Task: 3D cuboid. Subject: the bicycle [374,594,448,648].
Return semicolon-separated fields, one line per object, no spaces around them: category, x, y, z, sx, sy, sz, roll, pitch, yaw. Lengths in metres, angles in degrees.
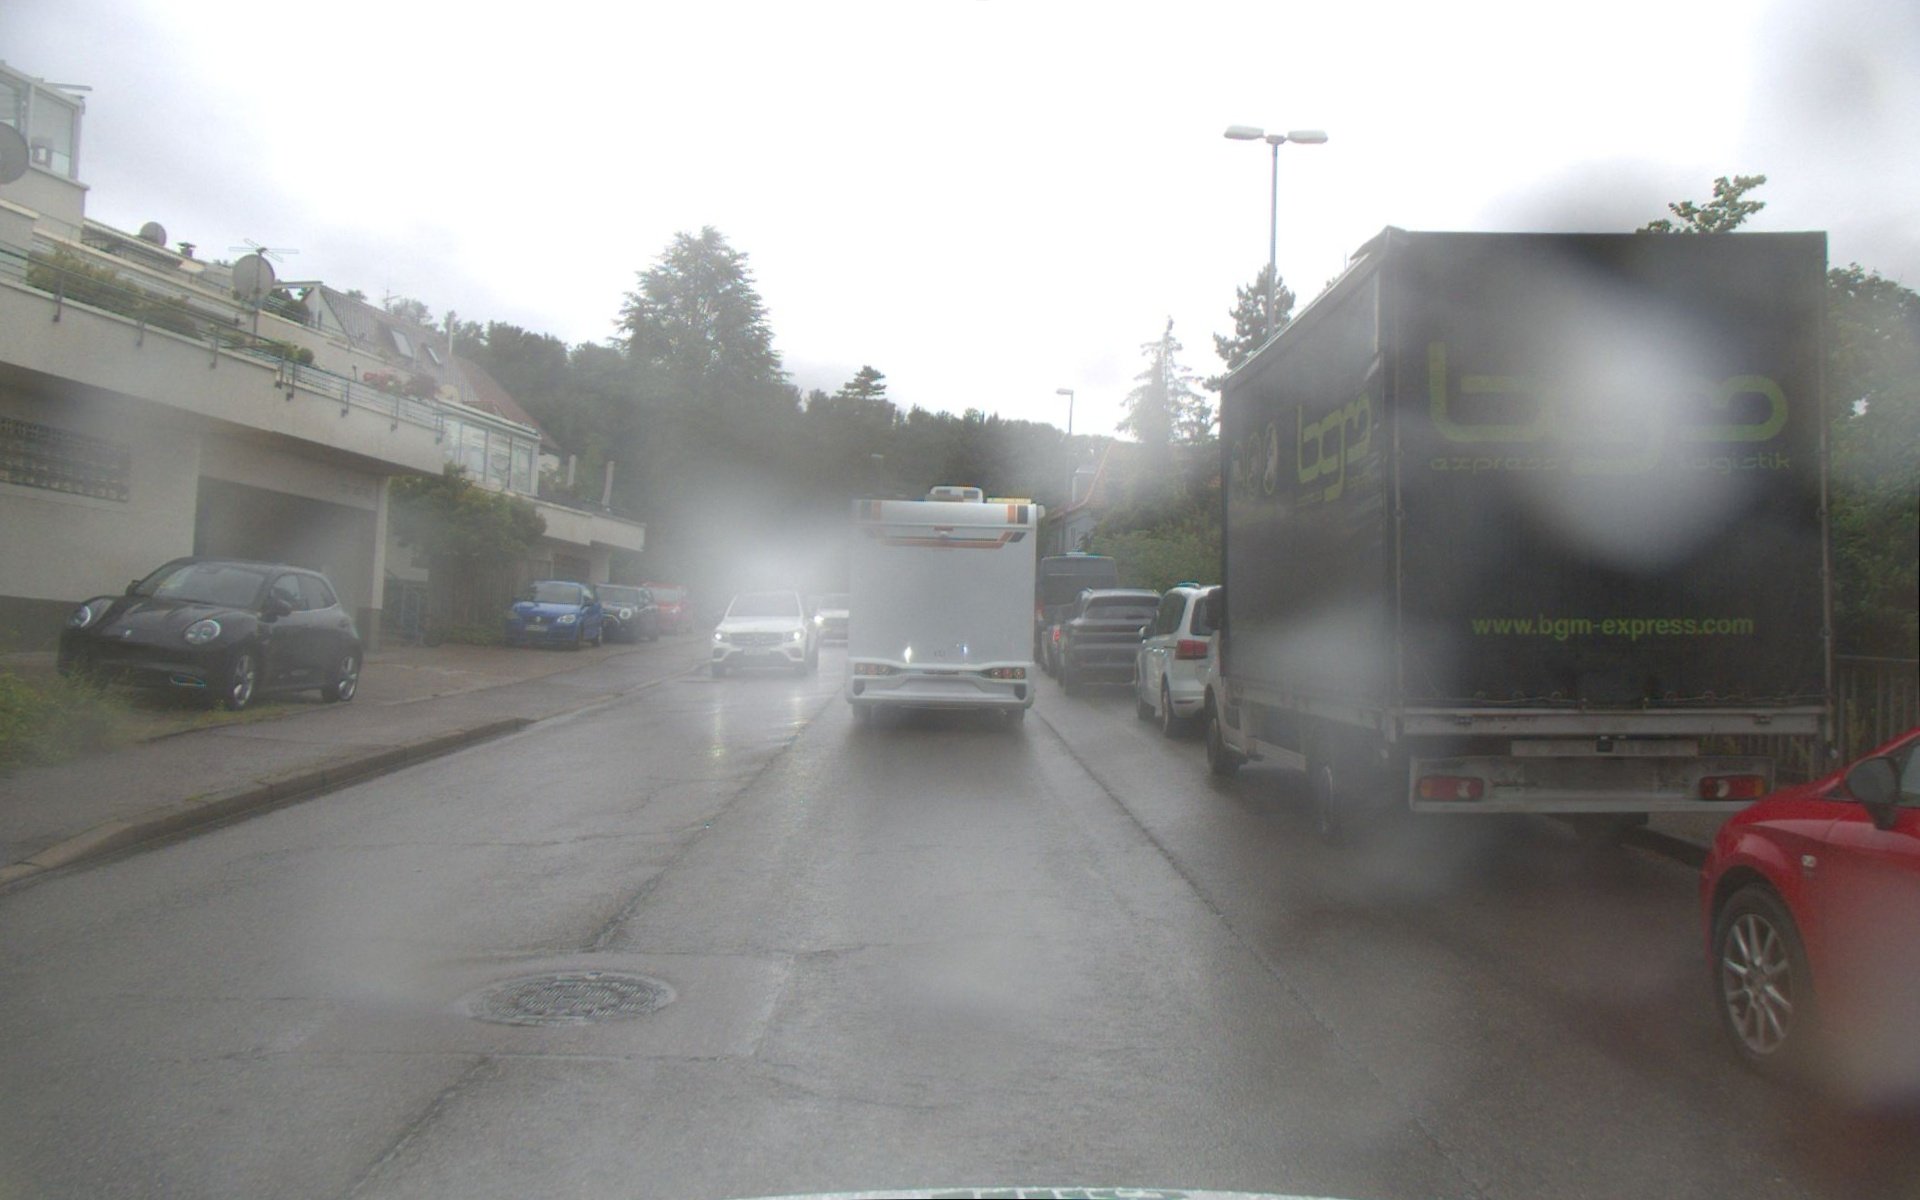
bicycle;-11.311;0.438;34.078;1.534;1.024;0.477;3;0;28

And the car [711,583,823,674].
car;-3.783;0.525;33.059;1.868;1.635;4.426;2;0;-3

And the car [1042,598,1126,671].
car;2.583;0.684;35.016;1.556;1.454;3.798;0;0;1

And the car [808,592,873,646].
car;-3.813;0.578;53.362;1.762;1.594;4.383;2;0;-1

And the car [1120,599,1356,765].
car;3.153;0.865;19.935;1.808;1.713;5.637;0;0;-1

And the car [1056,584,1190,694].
car;2.680;0.609;28.157;1.896;1.701;4.695;0;0;1

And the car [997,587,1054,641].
car;2.493;0.503;63.774;1.822;1.954;5.078;2;0;-1

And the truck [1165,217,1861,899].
truck;3.259;-0.188;12.241;2.386;3.394;7.963;0;0;-1

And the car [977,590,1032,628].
car;1.846;0.342;69.466;1.654;1.482;4.050;2;0;-8

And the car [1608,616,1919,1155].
car;3.533;0.784;4.078;1.795;1.463;4.985;0;0;-2

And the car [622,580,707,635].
car;-9.077;0.214;51.122;1.739;1.461;4.587;6;0;-1

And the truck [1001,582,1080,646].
truck;2.611;0.434;55.081;2.071;1.884;6.616;3;0;-2

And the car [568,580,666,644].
car;-8.813;0.291;42.788;1.600;1.420;4.238;5;0;-1

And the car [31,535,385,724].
car;-8.034;0.278;18.154;1.655;1.615;4.198;7;0;2

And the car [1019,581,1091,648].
car;2.739;0.404;48.723;1.790;1.874;5.269;0;0;0

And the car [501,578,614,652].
car;-8.990;0.297;37.254;1.575;1.459;3.958;5;0;-2

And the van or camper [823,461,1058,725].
van or camper;-0.229;-0.004;21.834;2.562;2.903;6.029;2;-2;0

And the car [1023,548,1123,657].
car;2.750;0.055;41.532;1.990;2.549;5.954;0;0;-1
